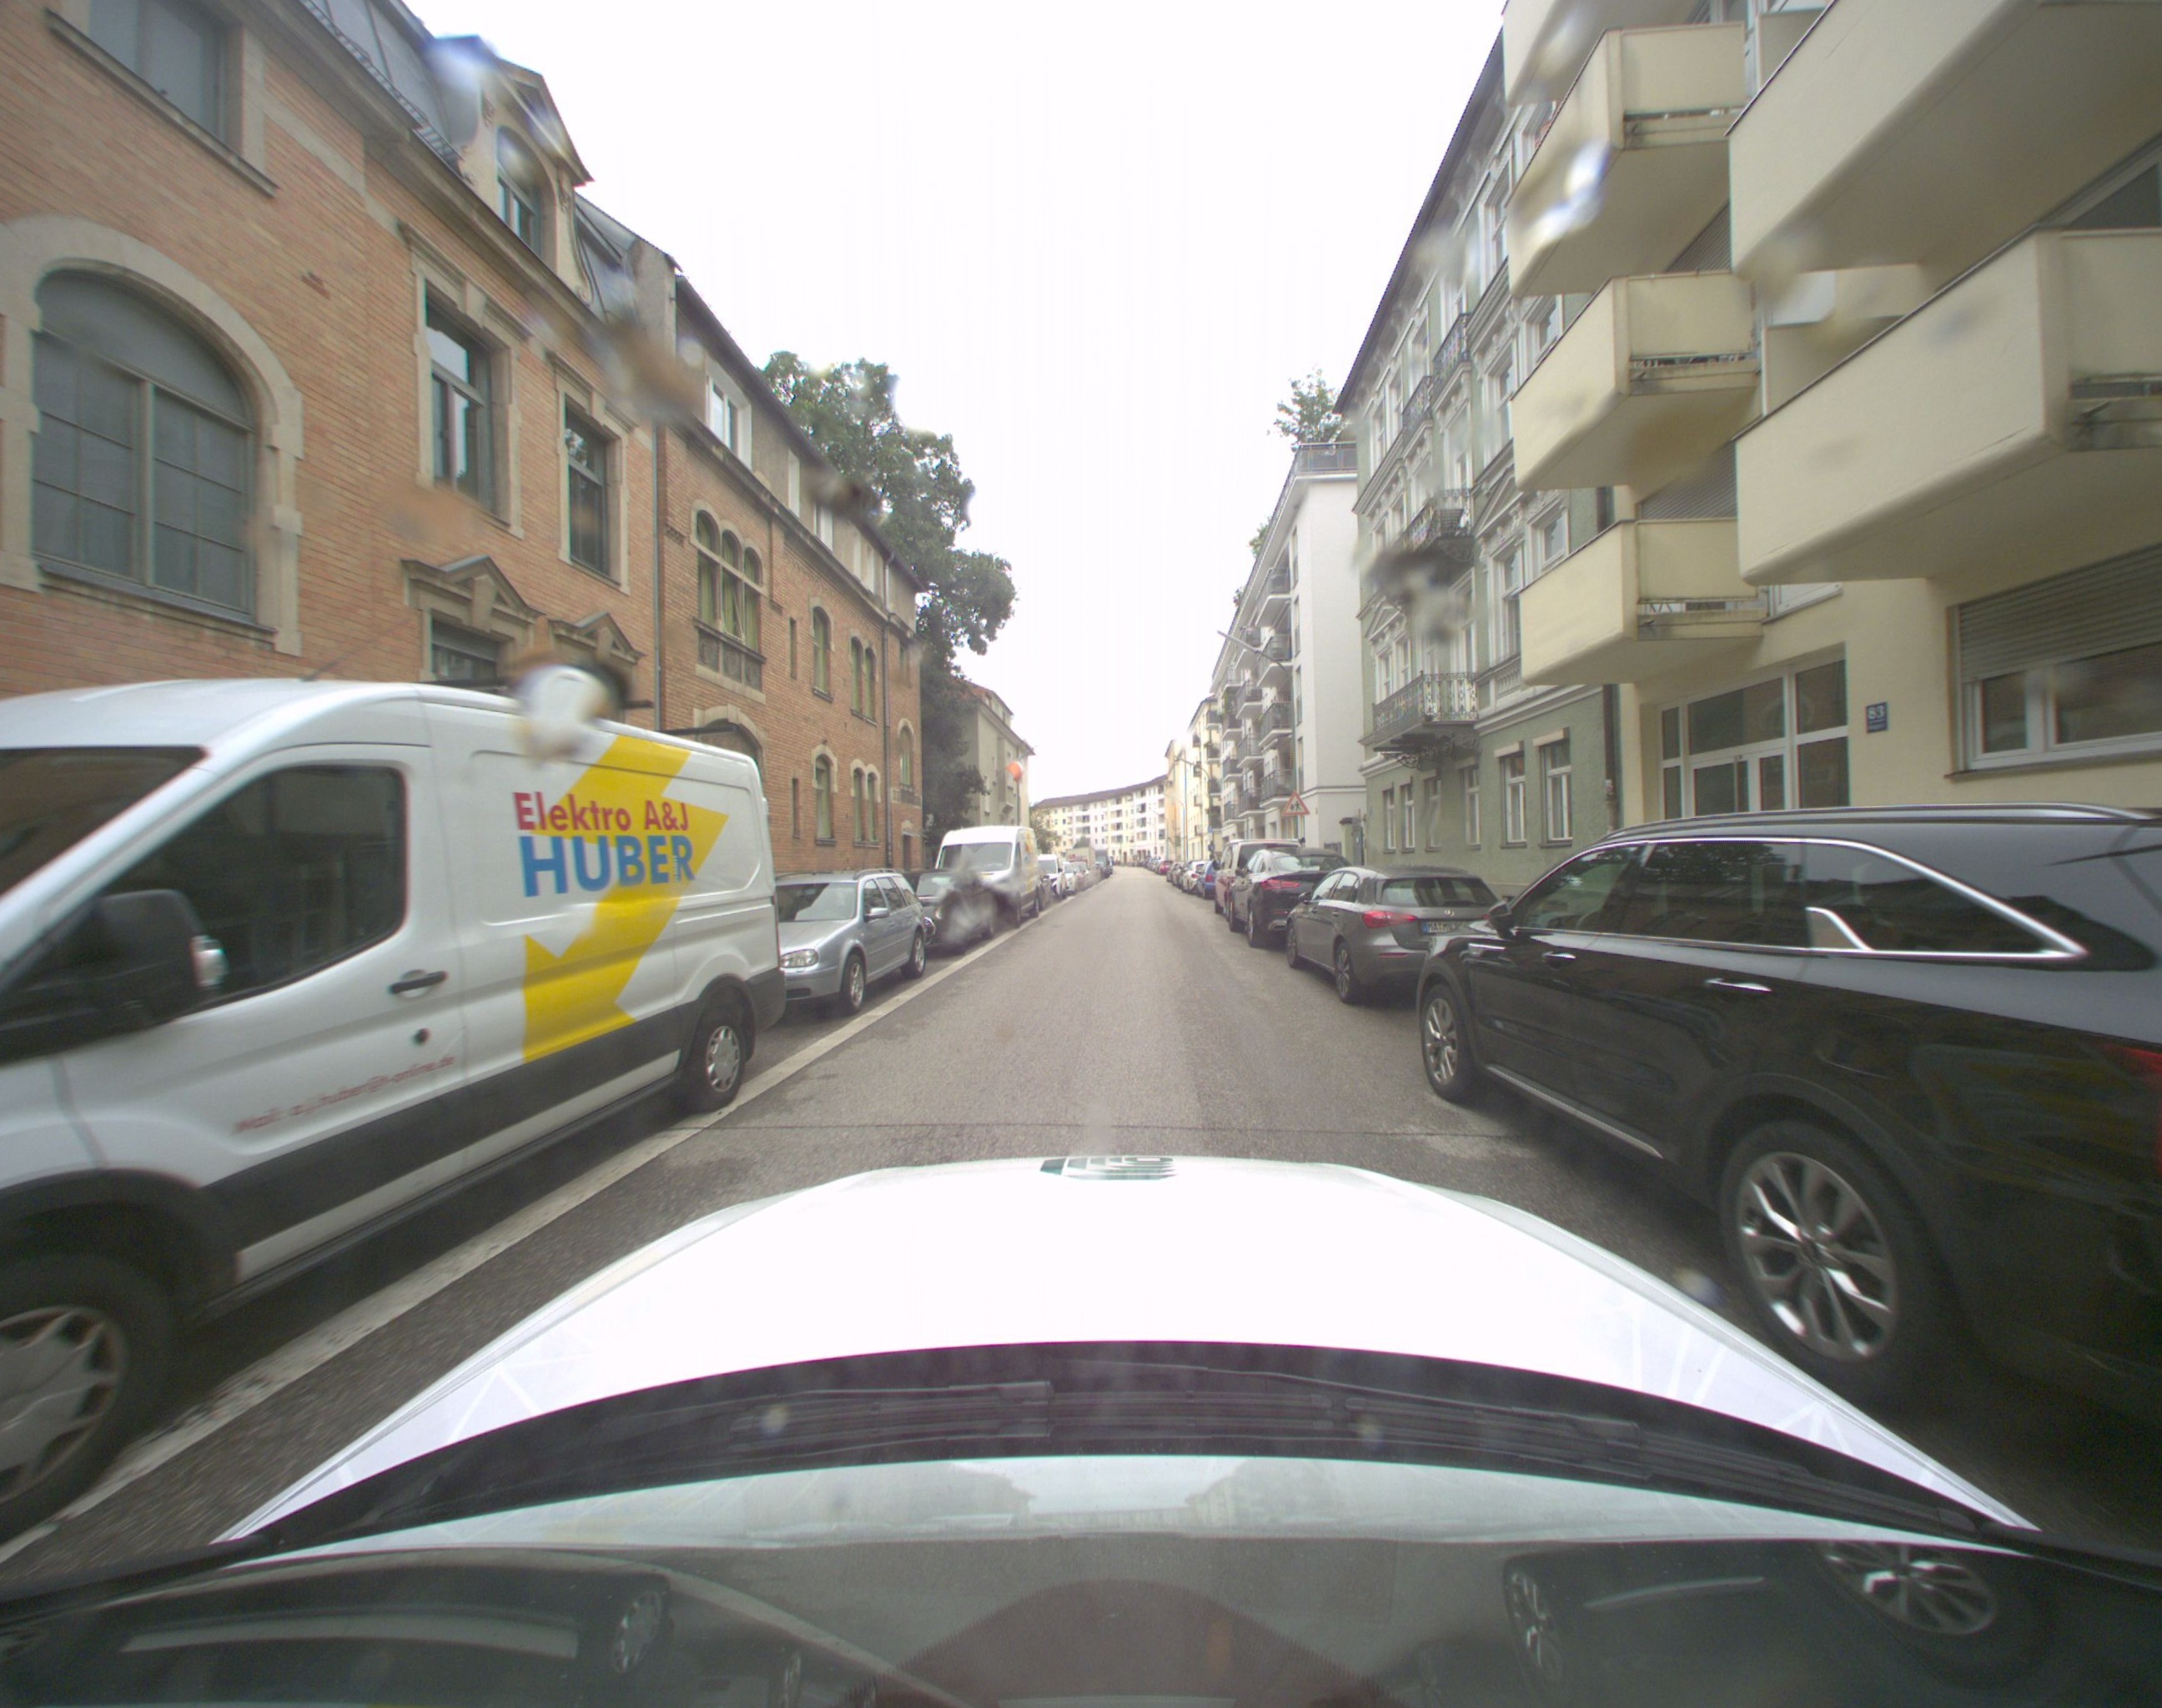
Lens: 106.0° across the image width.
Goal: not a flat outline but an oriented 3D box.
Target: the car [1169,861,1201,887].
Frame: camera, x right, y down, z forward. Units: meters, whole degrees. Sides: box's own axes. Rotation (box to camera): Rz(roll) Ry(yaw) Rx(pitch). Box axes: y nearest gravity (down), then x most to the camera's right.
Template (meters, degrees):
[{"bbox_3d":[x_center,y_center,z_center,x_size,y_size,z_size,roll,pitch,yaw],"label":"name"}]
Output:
[{"bbox_3d":[6.047,1.132,47.544,1.641,1.434,4.005,-2,-1,5],"label":"car"}]

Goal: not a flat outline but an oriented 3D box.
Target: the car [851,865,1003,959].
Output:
[{"bbox_3d":[-2.647,0.956,14.880,1.690,1.431,3.835,-2,-1,5],"label":"car"}]

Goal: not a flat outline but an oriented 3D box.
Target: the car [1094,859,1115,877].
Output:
[{"bbox_3d":[2.577,1.510,87.079,1.984,1.762,4.386,-2,-1,5],"label":"car"}]

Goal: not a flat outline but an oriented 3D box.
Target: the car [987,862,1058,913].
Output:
[{"bbox_3d":[-1.789,1.026,26.096,1.737,1.445,4.003,-2,-1,3],"label":"car"}]

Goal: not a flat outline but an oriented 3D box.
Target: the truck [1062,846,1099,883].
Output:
[{"bbox_3d":[0.026,0.702,54.557,1.984,2.319,5.416,-2,-1,5],"label":"truck"}]

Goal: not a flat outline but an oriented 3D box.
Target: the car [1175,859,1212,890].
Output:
[{"bbox_3d":[5.710,1.013,41.615,1.641,1.434,4.005,-2,-1,5],"label":"car"}]

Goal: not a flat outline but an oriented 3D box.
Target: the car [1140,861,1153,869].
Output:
[{"bbox_3d":[10.962,1.811,136.135,1.777,1.385,3.999,-1,0,0],"label":"car"}]

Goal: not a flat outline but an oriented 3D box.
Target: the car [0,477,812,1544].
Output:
[{"bbox_3d":[-3.372,0.412,3.755,1.983,2.468,5.477,-3,-1,4],"label":"car"}]

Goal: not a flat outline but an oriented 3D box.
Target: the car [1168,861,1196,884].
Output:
[{"bbox_3d":[6.631,1.213,53.935,1.641,1.434,4.289,-2,-1,5],"label":"car"}]

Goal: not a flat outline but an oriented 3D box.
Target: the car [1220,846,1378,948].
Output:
[{"bbox_3d":[3.828,0.712,15.151,1.852,1.551,4.757,-2,-1,3],"label":"car"}]

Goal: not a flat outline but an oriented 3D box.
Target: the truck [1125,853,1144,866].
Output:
[{"bbox_3d":[9.802,1.094,150.190,2.226,2.300,5.271,-1,0,-10],"label":"truck"}]

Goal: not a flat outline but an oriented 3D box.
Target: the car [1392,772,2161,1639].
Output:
[{"bbox_3d":[3.066,0.668,3.582,1.842,1.639,4.554,-2,-1,3],"label":"car"}]

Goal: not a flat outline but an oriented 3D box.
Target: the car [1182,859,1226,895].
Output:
[{"bbox_3d":[5.304,0.970,35.475,1.641,1.434,4.005,-2,-1,5],"label":"car"}]

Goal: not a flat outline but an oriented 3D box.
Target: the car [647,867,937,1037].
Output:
[{"bbox_3d":[-3.063,0.952,9.613,1.681,1.454,4.001,-4,-1,4],"label":"car"}]

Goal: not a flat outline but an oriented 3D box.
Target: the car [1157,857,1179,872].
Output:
[{"bbox_3d":[8.675,1.039,81.239,1.777,1.385,3.999,-1,0,0],"label":"car"}]

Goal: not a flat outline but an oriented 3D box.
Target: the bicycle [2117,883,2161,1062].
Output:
[{"bbox_3d":[6.700,0.689,4.099,0.578,1.054,1.836,-2,-1,-1],"label":"bicycle"}]

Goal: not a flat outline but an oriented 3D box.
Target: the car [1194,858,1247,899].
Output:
[{"bbox_3d":[5.265,0.910,31.145,1.601,1.434,3.623,-2,-1,4],"label":"car"}]

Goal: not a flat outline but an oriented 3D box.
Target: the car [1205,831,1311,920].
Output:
[{"bbox_3d":[4.405,0.532,20.950,1.862,1.968,4.820,-2,-1,3],"label":"car"}]

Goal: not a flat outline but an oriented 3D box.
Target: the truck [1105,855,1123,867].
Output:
[{"bbox_3d":[6.882,1.479,171.379,2.623,2.300,5.419,-1,0,-11],"label":"truck"}]

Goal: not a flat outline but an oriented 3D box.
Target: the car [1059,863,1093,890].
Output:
[{"bbox_3d":[-0.247,1.301,47.616,1.788,1.469,3.869,-2,-1,2],"label":"car"}]

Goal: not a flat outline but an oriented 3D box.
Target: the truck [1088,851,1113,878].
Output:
[{"bbox_3d":[1.842,0.970,75.572,1.984,2.319,5.416,-2,-1,5],"label":"truck"}]

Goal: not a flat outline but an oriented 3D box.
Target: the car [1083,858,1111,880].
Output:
[{"bbox_3d":[1.395,1.268,68.987,1.984,1.762,4.386,-2,-1,5],"label":"car"}]

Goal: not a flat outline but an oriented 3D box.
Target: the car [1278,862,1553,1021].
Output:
[{"bbox_3d":[3.617,0.823,9.738,1.720,1.459,4.420,0,-1,3],"label":"car"}]

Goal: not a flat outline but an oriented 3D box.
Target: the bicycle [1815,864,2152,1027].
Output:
[{"bbox_3d":[6.752,0.618,6.255,0.578,1.054,1.762,-2,-1,-1],"label":"bicycle"}]

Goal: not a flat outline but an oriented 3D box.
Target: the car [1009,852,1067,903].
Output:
[{"bbox_3d":[-1.538,0.848,30.575,1.814,1.711,4.001,-2,-1,2],"label":"car"}]

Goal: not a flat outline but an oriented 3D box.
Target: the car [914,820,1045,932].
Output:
[{"bbox_3d":[-2.303,0.508,20.149,2.127,2.349,5.376,-2,-1,4],"label":"car"}]

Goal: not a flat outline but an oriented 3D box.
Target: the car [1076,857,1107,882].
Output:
[{"bbox_3d":[0.835,1.184,62.412,1.984,1.762,4.386,-2,-1,5],"label":"car"}]

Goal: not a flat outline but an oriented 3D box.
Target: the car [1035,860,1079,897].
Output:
[{"bbox_3d":[-1.037,1.082,37.199,1.840,1.540,3.999,-2,-1,0],"label":"car"}]

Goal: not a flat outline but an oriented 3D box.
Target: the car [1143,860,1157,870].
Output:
[{"bbox_3d":[10.583,1.653,125.074,1.777,1.385,3.999,-1,0,0],"label":"car"}]

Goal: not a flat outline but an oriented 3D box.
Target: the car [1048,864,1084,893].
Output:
[{"bbox_3d":[-0.727,1.214,41.918,1.745,1.368,3.999,-2,-1,0],"label":"car"}]

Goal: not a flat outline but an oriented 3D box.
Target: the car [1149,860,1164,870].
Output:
[{"bbox_3d":[10.744,1.517,116.480,1.777,1.385,3.999,-1,0,0],"label":"car"}]

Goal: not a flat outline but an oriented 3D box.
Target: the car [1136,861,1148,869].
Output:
[{"bbox_3d":[10.605,1.920,142.494,1.777,1.385,3.999,-1,0,0],"label":"car"}]
